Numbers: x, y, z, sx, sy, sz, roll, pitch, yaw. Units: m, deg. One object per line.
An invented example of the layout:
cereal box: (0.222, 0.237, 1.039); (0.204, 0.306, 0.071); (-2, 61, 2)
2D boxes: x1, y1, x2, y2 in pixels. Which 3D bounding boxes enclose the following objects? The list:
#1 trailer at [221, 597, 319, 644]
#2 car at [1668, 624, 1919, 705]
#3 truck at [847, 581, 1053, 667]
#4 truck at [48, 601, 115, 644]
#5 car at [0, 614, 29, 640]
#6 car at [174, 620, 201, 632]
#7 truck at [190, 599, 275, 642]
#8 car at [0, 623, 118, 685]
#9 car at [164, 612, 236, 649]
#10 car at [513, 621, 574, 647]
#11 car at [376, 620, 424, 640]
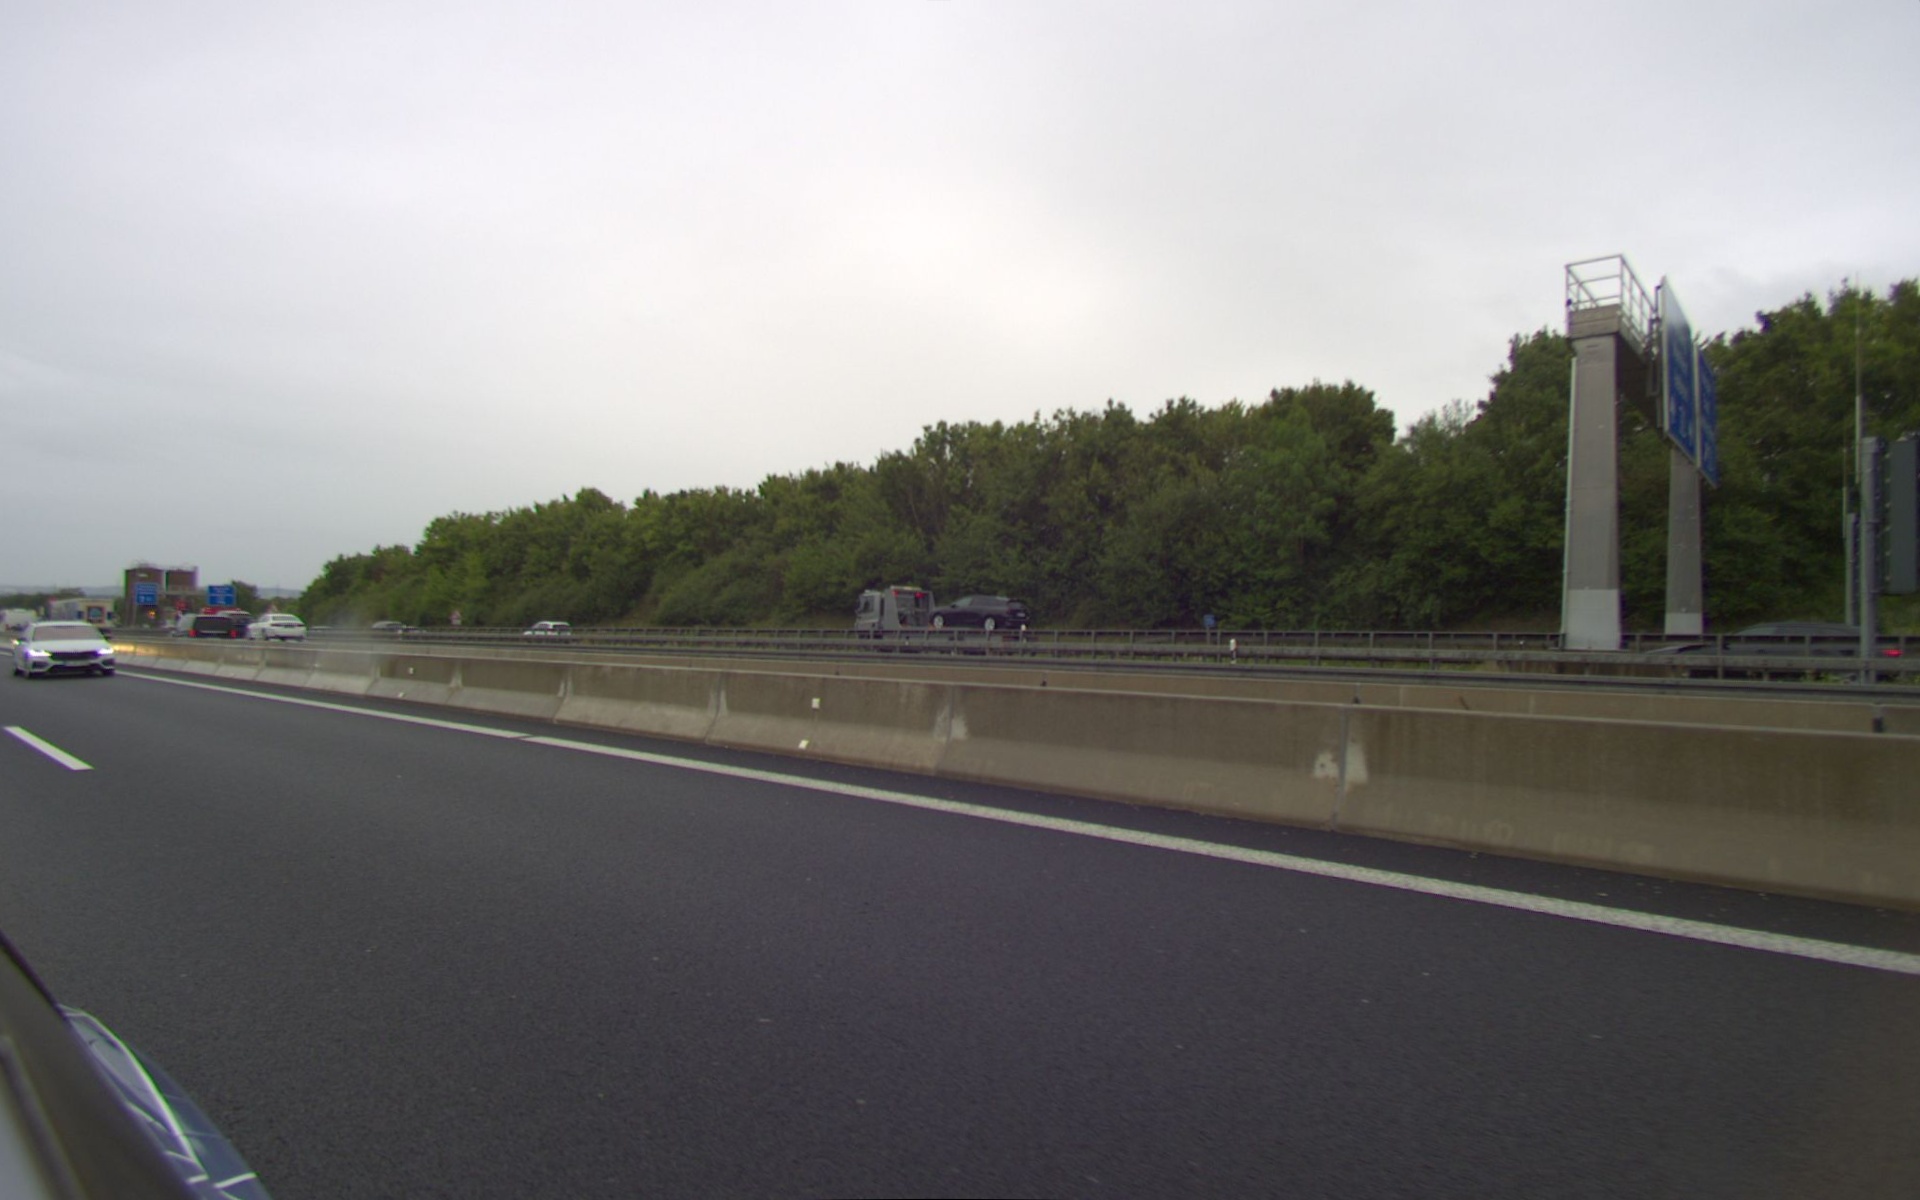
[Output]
trailer: (-37.263, 1.080, 54.527); (7.944, 2.358, 2.549); (-1, 0, 42)
car: (17.267, 1.273, 21.055); (3.998, 1.467, 1.658); (-1, 0, 41)
truck: (-0.627, 0.954, 42.290); (9.076, 3.245, 2.821); (-1, 0, 42)
truck: (-85.680, 2.121, 98.550); (16.084, 3.907, 2.896); (-1, 0, 42)
car: (-90.751, 2.547, 96.520); (5.688, 2.339, 2.108); (-1, 0, 40)
car: (-99.826, 3.364, 130.753); (4.774, 1.467, 1.800); (-1, 0, 40)
truck: (-42.846, 1.161, 59.508); (7.339, 2.358, 2.549); (-1, 0, 42)
car: (-24.306, 1.384, 27.172); (4.774, 1.467, 1.800); (-1, 0, 40)
car: (-37.657, 1.475, 50.111); (4.774, 1.694, 1.851); (-1, 0, 40)
car: (-27.104, 2.186, 65.842); (4.774, 1.593, 1.642); (-1, 0, 40)
car: (-44.839, 2.386, 81.045); (4.774, 1.467, 1.800); (-1, 0, 40)
